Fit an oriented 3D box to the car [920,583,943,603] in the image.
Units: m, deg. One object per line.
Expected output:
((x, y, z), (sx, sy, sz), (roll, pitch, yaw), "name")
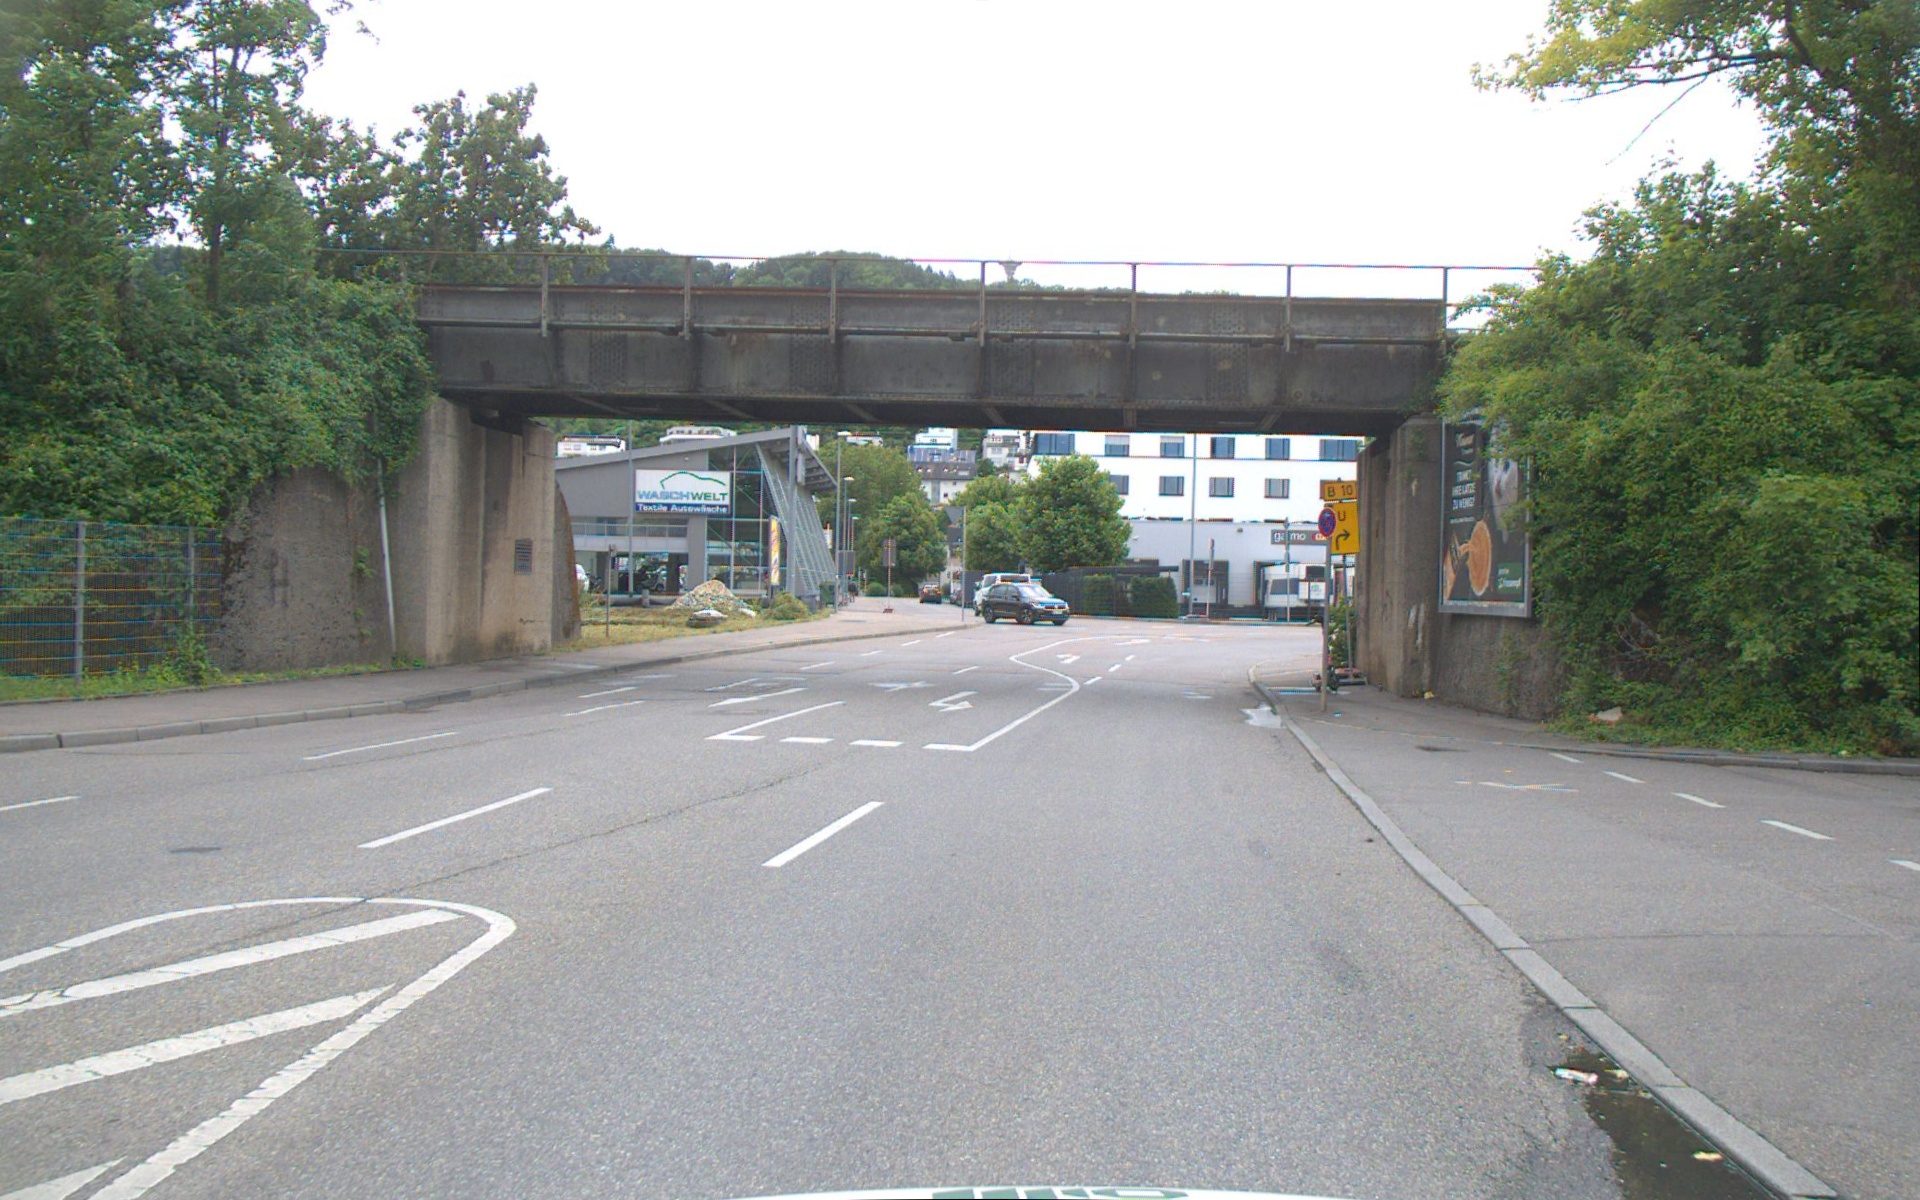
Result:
((-2.534, -0.644, 149.084), (1.953, 1.713, 4.000), (1, 0, 0), "car")

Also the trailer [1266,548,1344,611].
((24.035, -1.390, 115.984), (3.018, 4.149, 11.409), (2, 0, 0), "trailer")

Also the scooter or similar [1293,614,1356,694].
((6.078, 0.885, 27.670), (0.494, 1.257, 1.668), (-3, 0, -5), "scooter or similar")

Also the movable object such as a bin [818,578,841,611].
((-7.182, -0.321, 91.032), (1.119, 1.788, 1.059), (1, 0, 0), "movable object such as a bin")

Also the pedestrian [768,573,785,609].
((-9.753, -0.474, 88.025), (0.812, 1.901, 0.716), (0, 0, -14), "pedestrian")

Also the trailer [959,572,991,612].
((1.159, -0.657, 128.920), (2.233, 3.004, 3.999), (2, 1, -2), "trailer")

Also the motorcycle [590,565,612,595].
((-20.850, -1.162, 96.097), (0.823, 1.740, 2.362), (2, 0, -4), "motorcycle")

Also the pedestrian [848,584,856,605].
((-8.751, -0.470, 134.094), (0.615, 1.702, 0.757), (1, 0, -6), "pedestrian")

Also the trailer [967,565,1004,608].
((2.305, -1.281, 151.960), (3.006, 3.825, 4.932), (2, 1, -2), "trailer")

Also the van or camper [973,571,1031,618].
((1.981, -0.254, 78.791), (2.060, 2.119, 4.197), (1, 0, -8), "van or camper")

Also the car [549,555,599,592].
((-17.566, -1.191, 75.166), (1.961, 1.562, 3.982), (2, 0, -16), "car")

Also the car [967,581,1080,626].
((2.513, 0.146, 66.301), (4.295, 1.713, 1.987), (1, 0, 43), "car")

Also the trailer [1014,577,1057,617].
((4.039, -0.181, 89.333), (1.953, 2.048, 3.999), (2, 1, -2), "trailer")
